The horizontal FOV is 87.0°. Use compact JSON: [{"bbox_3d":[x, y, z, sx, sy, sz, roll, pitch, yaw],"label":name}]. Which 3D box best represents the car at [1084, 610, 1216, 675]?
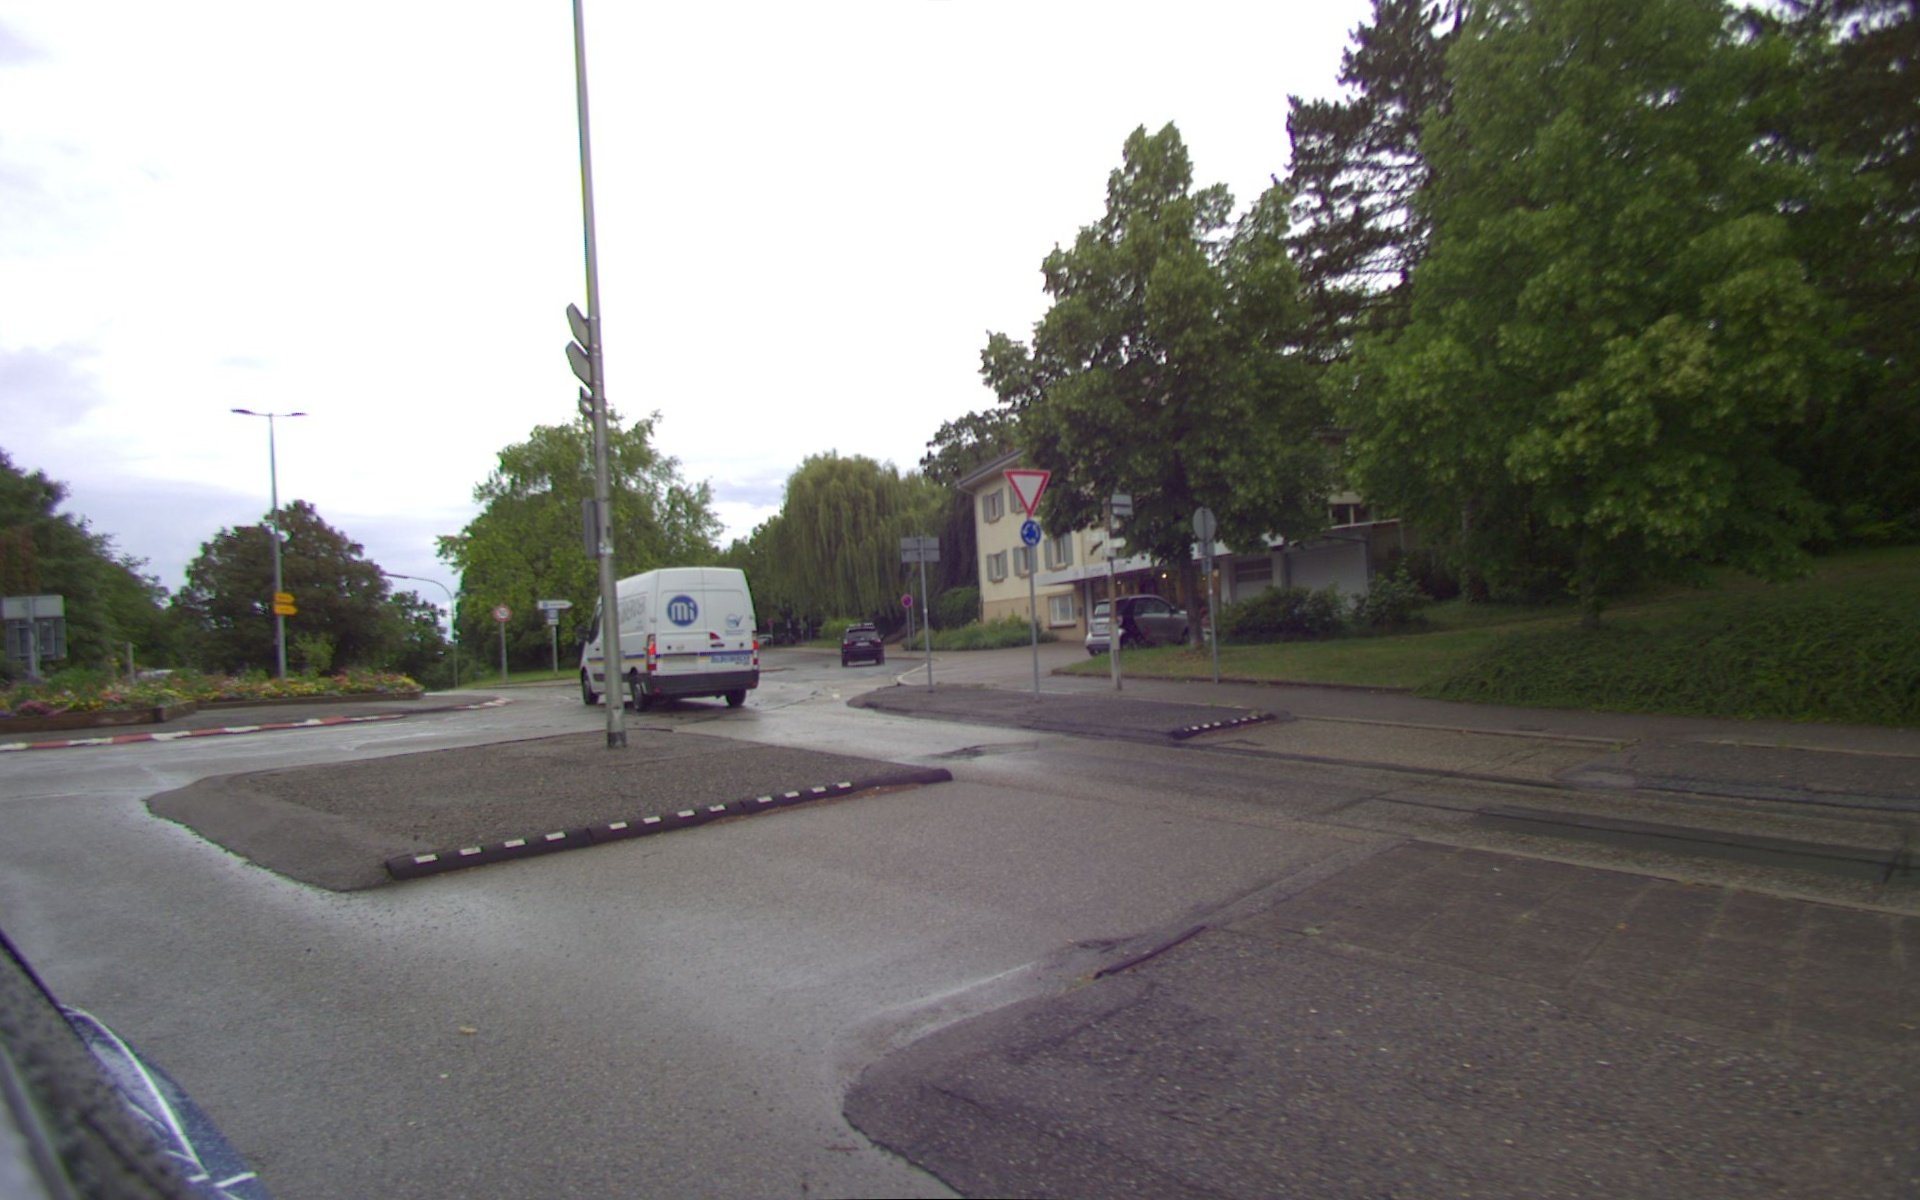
[{"bbox_3d":[4.792,1.044,25.620,2.774,1.553,1.703,0,-2,-22],"label":"car"}]

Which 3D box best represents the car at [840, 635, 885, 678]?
[{"bbox_3d":[-4.188,2.353,42.967,1.671,1.626,4.345,0,-1,-8],"label":"car"}]

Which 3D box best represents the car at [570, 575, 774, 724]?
[{"bbox_3d":[-5.693,0.996,19.394,2.138,2.434,5.409,0,-4,-34],"label":"car"}]
